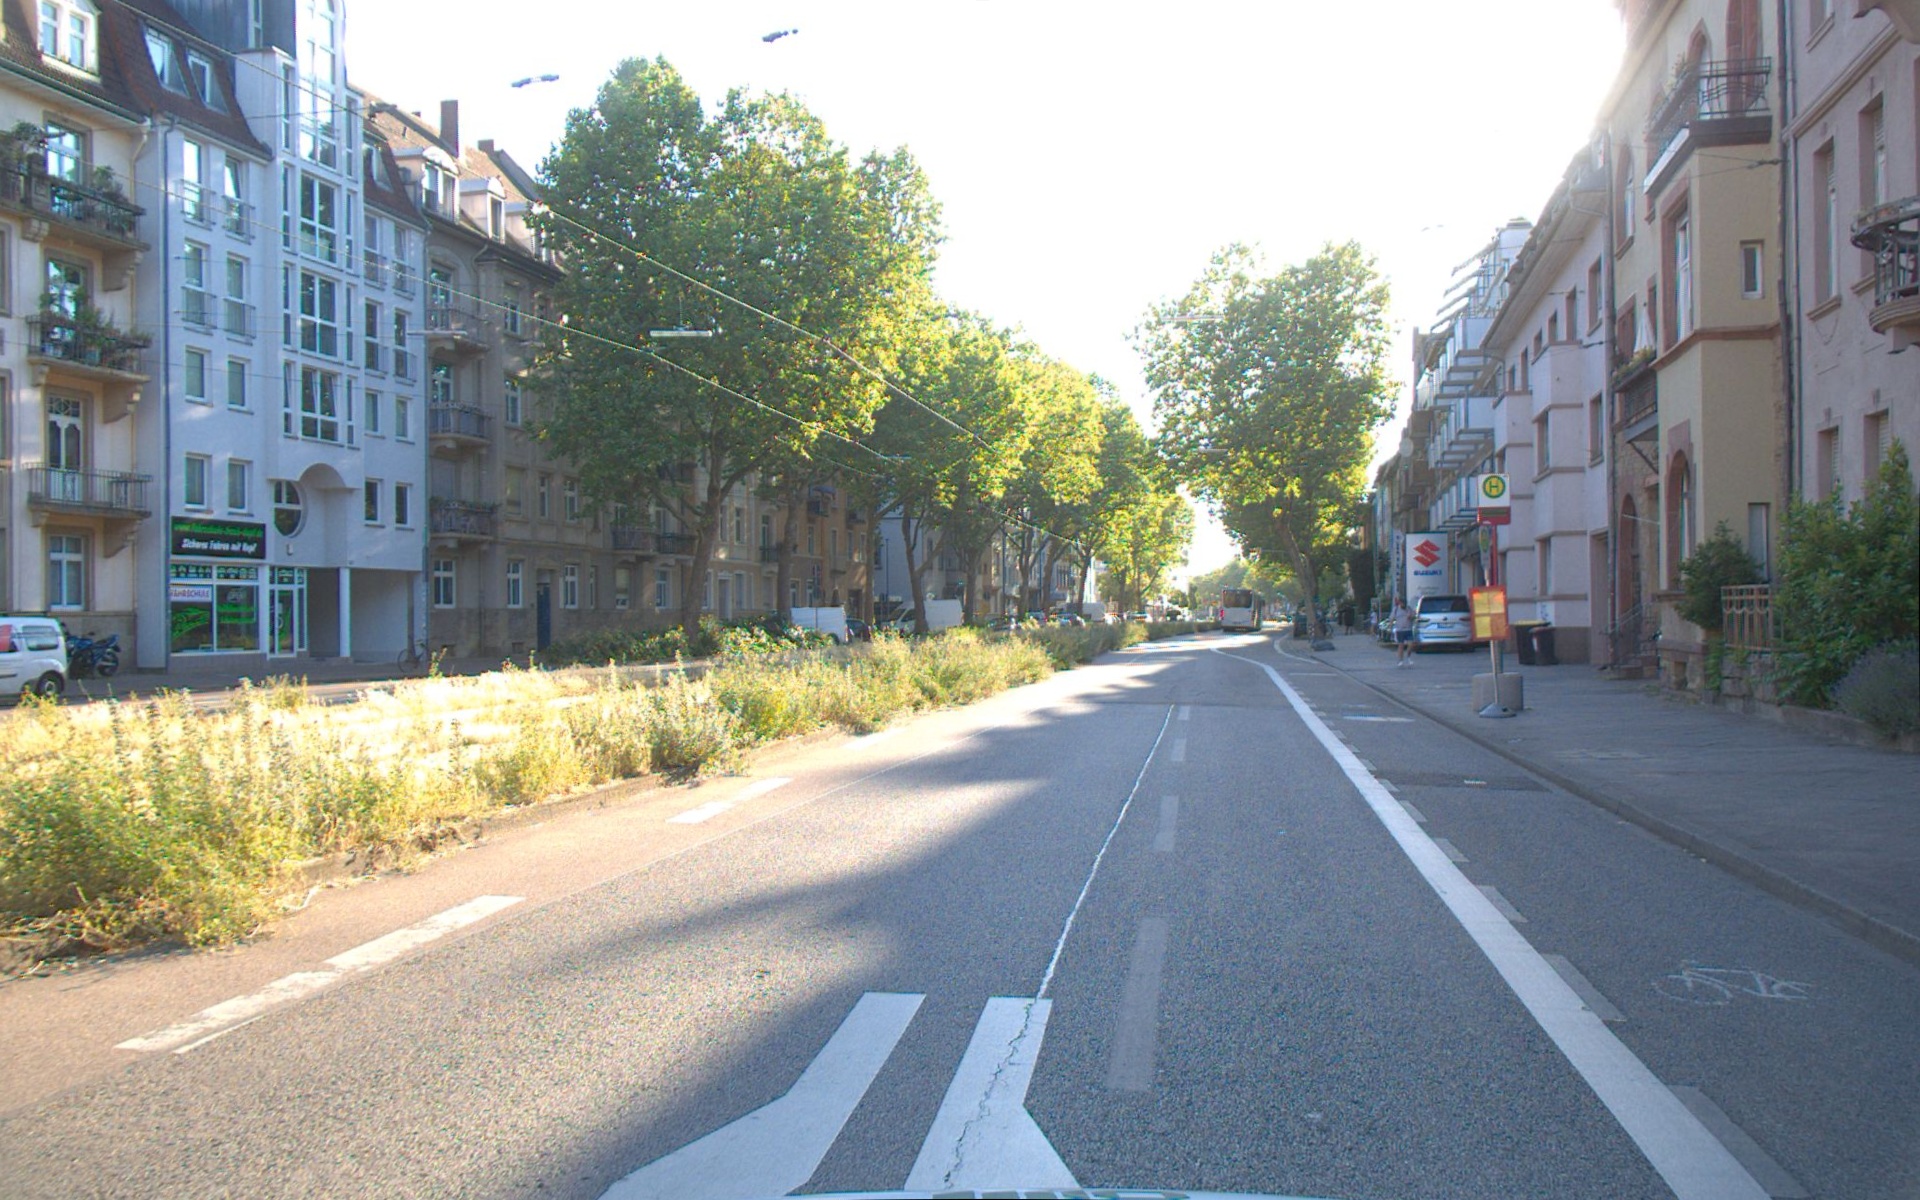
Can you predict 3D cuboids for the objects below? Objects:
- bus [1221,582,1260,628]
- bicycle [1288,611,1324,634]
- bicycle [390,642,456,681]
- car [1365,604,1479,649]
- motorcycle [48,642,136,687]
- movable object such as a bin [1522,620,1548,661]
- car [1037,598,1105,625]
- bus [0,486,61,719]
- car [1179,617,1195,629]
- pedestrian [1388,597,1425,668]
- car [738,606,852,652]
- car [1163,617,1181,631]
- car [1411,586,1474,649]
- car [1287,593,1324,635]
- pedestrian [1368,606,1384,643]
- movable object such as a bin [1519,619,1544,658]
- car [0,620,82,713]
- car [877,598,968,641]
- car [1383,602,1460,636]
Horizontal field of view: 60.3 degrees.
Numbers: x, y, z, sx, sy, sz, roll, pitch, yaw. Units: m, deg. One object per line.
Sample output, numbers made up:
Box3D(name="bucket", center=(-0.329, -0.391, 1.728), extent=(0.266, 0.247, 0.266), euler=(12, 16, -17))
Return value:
Box3D(name="bus", center=(21.107, 0.432, 124.655), extent=(2.773, 3.292, 8.188), euler=(-1, -1, 9))
Box3D(name="bicycle", center=(18.095, 1.200, 86.586), extent=(1.805, 1.163, 0.348), euler=(-1, -2, 11))
Box3D(name="bicycle", center=(-16.228, 1.848, 49.988), extent=(0.742, 1.050, 1.893), euler=(5, 1, 25))
Box3D(name="car", center=(16.807, 0.941, 60.327), extent=(3.730, 1.527, 1.915), euler=(-1, 0, 7))
Box3D(name="motorcycle", center=(-21.548, 1.591, 41.133), extent=(0.516, 1.039, 2.422), euler=(2, 0, 11))
Box3D(name="movable object such as a bin", center=(14.271, 1.008, 41.042), extent=(0.542, 0.986, 0.585), euler=(-1, -2, 13))
Box3D(name="car", center=(11.720, 1.226, 174.453), extent=(6.809, 2.725, 2.181), euler=(-1, -2, -9))
Box3D(name="bus", center=(-16.691, -0.034, 19.964), extent=(3.185, 3.433, 11.986), euler=(-1, -1, 12))
Box3D(name="car", center=(30.079, 3.025, 219.294), extent=(1.752, 1.601, 4.003), euler=(-1, -1, 12))
Box3D(name="pedestrian", center=(11.728, 0.862, 43.472), extent=(0.811, 1.844, 1.151), euler=(-1, -2, 10))
Box3D(name="car", center=(-7.830, 1.362, 78.716), extent=(5.175, 2.102, 1.704), euler=(-1, -1, -31))
Box3D(name="car", center=(25.977, 2.968, 202.325), extent=(1.829, 1.723, 4.780), euler=(-1, -1, 11))
Box3D(name="car", center=(16.187, 0.619, 55.662), extent=(1.852, 1.983, 4.904), euler=(-1, -1, 14))
Box3D(name="car", center=(19.827, 0.823, 95.060), extent=(1.951, 2.297, 5.239), euler=(-1, -1, 11))
Box3D(name="pedestrian", center=(19.081, 1.126, 75.879), extent=(0.649, 1.657, 0.923), euler=(-1, -2, 11))
Box3D(name="movable object such as a bin", center=(14.395, 0.973, 41.671), extent=(0.542, 0.986, 0.585), euler=(-1, -2, 13))
Box3D(name="car", center=(-19.615, 1.306, 32.186), extent=(1.863, 1.818, 4.656), euler=(-1, -1, 13))
Box3D(name="car", center=(-2.337, 1.220, 103.532), extent=(5.434, 2.573, 2.104), euler=(-1, -1, -31))
Box3D(name="car", center=(21.772, 0.903, 78.145), extent=(3.345, 1.574, 1.443), euler=(-1, -2, 9))
